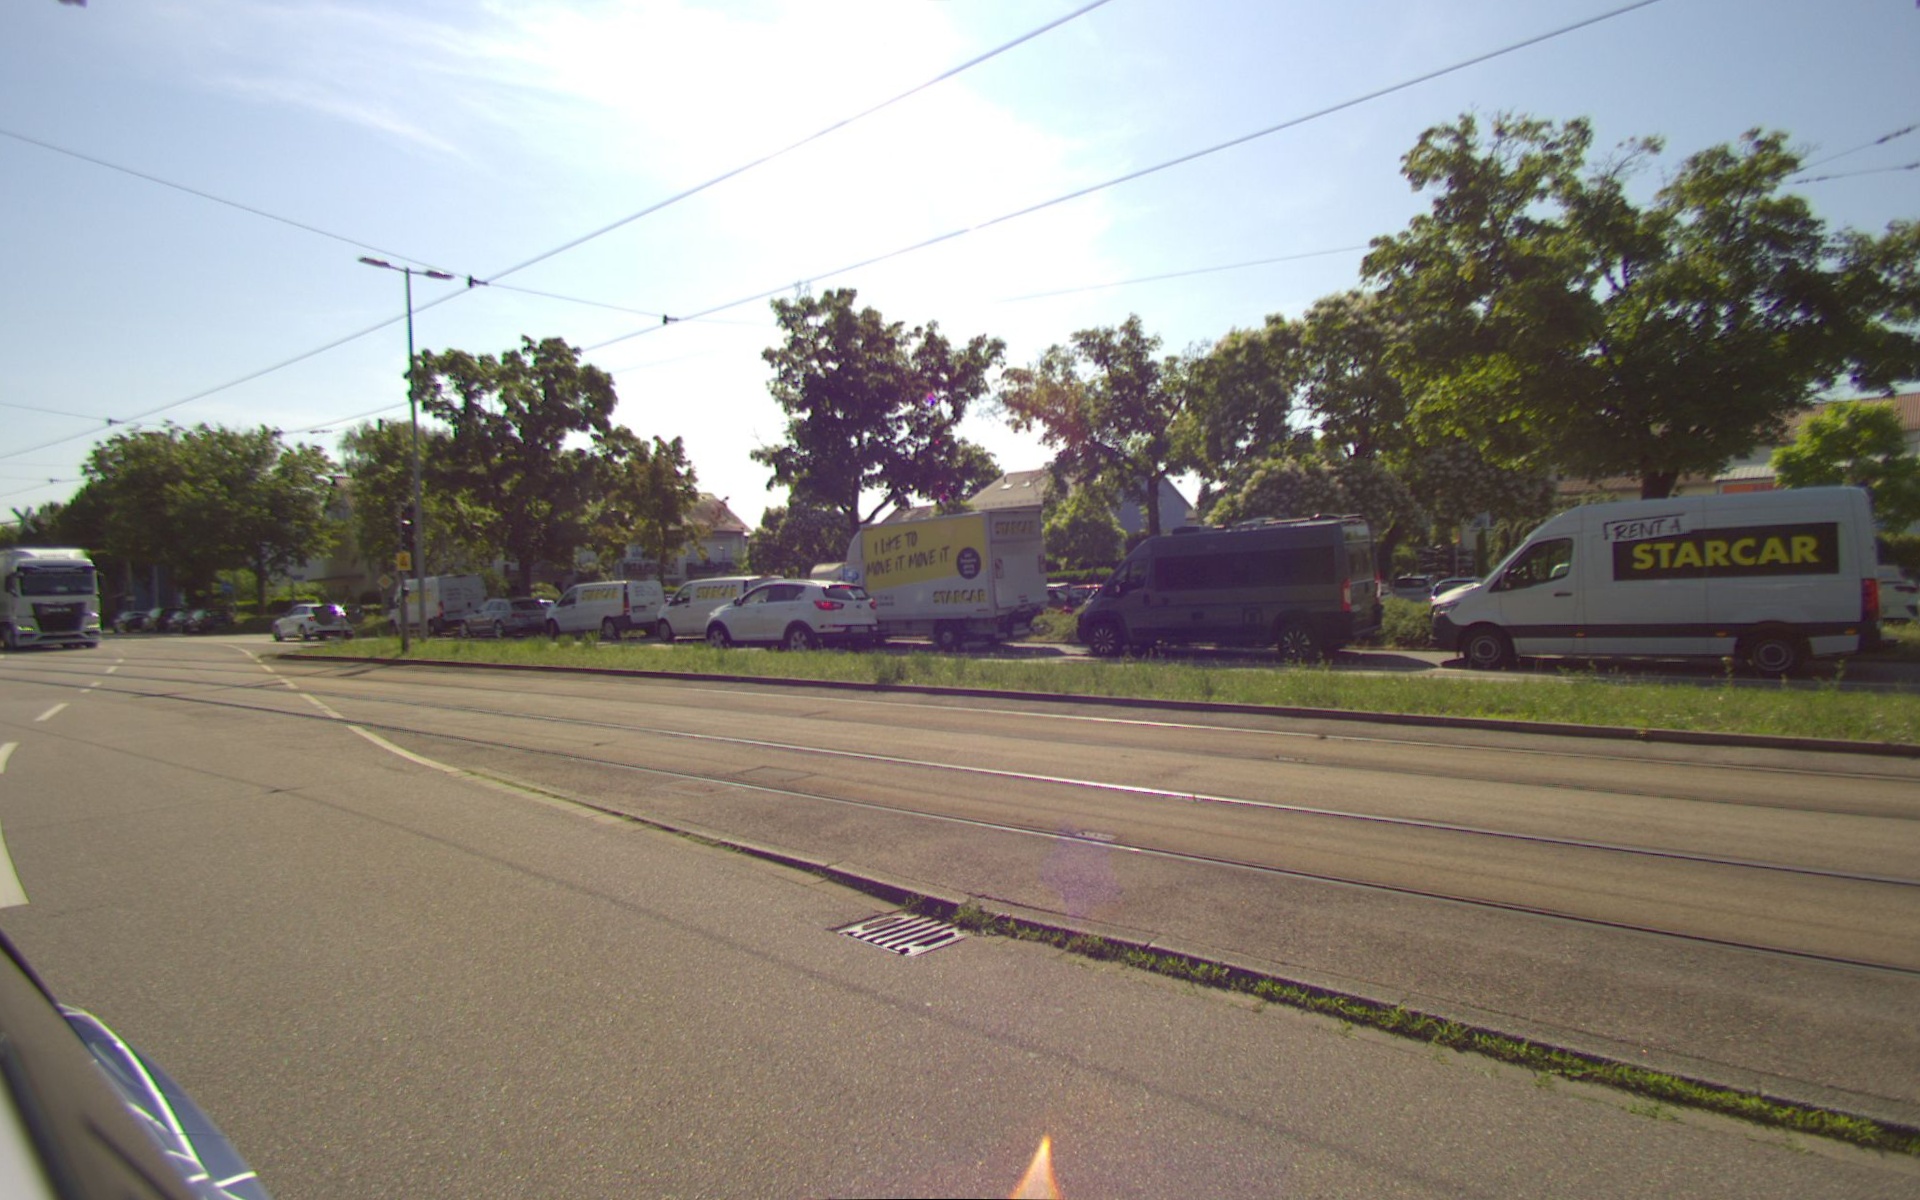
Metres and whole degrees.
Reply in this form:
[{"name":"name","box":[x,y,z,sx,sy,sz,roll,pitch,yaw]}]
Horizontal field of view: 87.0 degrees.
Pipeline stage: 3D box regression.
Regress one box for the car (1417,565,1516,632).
[{"name":"car","box":[13.905,-0.066,27.664,1.661,1.707,3.949,-1,0,38]}]

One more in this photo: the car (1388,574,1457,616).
[{"name":"car","box":[18.438,-0.218,40.280,1.781,1.556,3.953,-2,0,35]}]

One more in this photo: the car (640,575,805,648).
[{"name":"car","box":[-7.346,0.344,30.999,5.181,1.955,2.174,-1,2,40]}]

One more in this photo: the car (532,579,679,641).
[{"name":"car","box":[-12.442,0.377,35.436,5.172,1.955,2.178,-2,2,35]}]

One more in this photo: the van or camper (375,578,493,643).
[{"name":"van or camper","box":[-22.257,0.467,42.667,6.142,2.533,2.234,-2,0,40]}]

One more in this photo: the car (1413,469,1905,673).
[{"name":"car","box":[10.597,-0.378,15.875,5.972,2.650,2.175,-2,2,39]}]

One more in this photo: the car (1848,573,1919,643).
[{"name":"car","box":[20.285,0.125,21.547,1.657,1.381,3.952,-1,0,36]}]

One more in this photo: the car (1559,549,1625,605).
[{"name":"car","box":[24.345,-0.866,38.933,1.906,2.018,3.953,-2,0,35]}]

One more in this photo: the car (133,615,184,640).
[{"name":"car","box":[-53.840,1.828,67.997,4.235,1.625,1.659,-1,1,37]}]

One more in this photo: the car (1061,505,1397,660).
[{"name":"car","box":[5.219,-0.296,20.266,6.071,2.688,2.175,-2,2,38]}]

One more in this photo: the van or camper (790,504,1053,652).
[{"name":"van or camper","box":[-1.137,-0.486,25.409,6.766,3.265,2.174,-2,2,40]}]

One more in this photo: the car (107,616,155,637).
[{"name":"car","box":[-59.135,1.905,72.162,4.450,1.446,1.659,-2,0,37]}]

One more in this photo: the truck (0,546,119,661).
[{"name":"truck","box":[-39.185,0.151,42.197,14.269,4.099,3.351,-1,3,39]}]

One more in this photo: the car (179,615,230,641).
[{"name":"car","box":[-45.767,1.707,61.299,4.079,1.461,1.599,-2,0,40]}]

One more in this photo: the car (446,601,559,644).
[{"name":"car","box":[-17.590,0.838,38.810,4.880,1.465,1.913,-1,2,39]}]

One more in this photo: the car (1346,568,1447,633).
[{"name":"car","box":[12.448,-0.021,28.733,1.661,1.707,3.949,-1,0,38]}]

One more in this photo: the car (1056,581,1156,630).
[{"name":"car","box":[5.070,0.173,34.726,1.661,1.555,3.949,-1,0,38]}]

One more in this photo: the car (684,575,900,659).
[{"name":"car","box":[-3.690,0.378,21.824,4.654,1.609,2.023,-1,-1,39]}]

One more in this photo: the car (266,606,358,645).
[{"name":"car","box":[-25.394,0.982,39.614,4.332,1.433,1.774,-1,0,40]}]

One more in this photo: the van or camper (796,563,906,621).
[{"name":"van or camper","box":[-6.453,-0.514,60.962,2.577,3.269,6.887,-1,0,36]}]

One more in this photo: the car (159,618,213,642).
[{"name":"car","box":[-49.389,1.906,64.555,4.575,1.405,1.680,-2,0,39]}]
